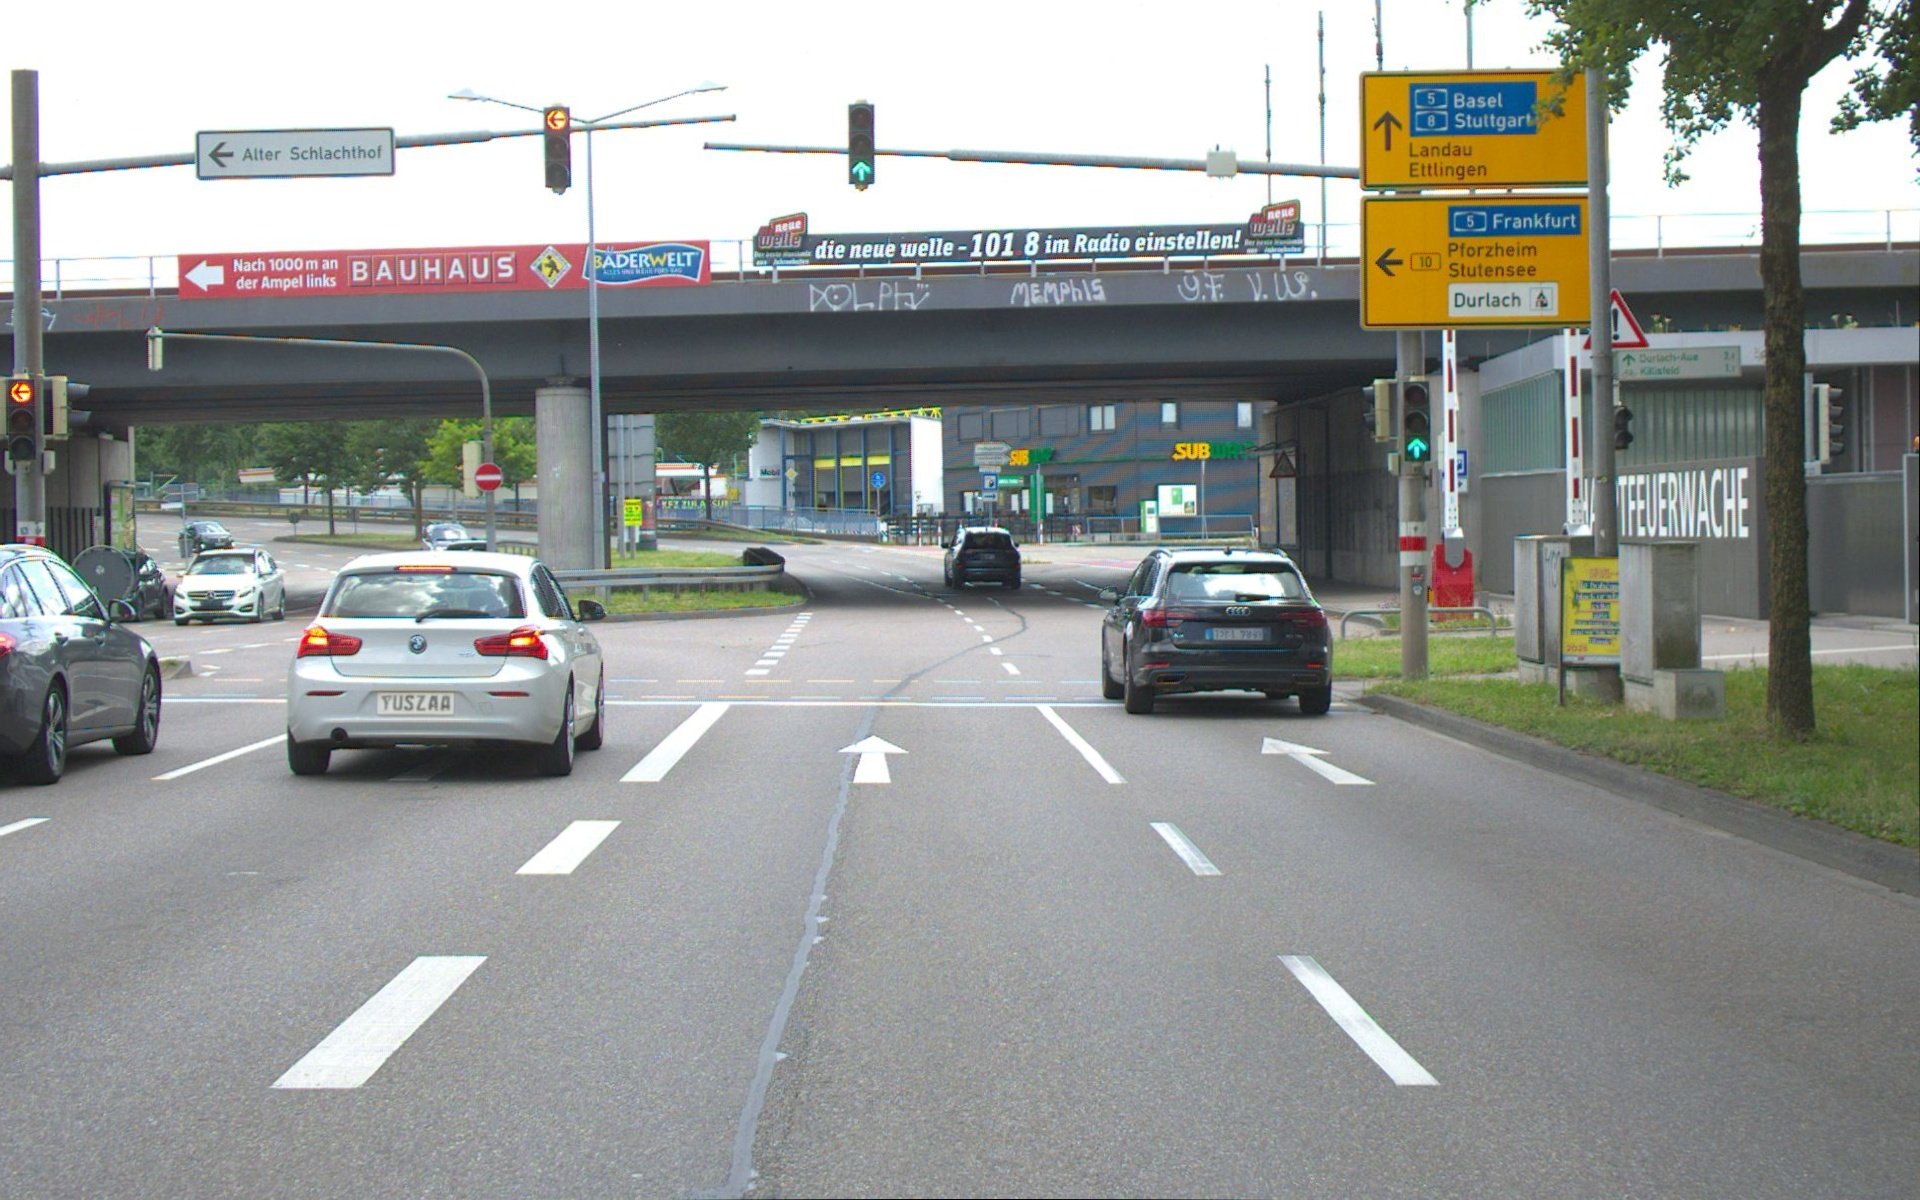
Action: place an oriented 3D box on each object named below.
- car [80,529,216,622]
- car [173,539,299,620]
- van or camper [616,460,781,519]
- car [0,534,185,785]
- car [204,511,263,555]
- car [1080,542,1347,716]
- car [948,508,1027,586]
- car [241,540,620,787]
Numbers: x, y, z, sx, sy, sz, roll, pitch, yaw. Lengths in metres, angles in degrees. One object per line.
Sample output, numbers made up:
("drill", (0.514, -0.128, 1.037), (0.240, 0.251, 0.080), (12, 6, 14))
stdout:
("car", (-18.258, -0.573, 77.483), (1.993, 2.007, 4.000), (-1, 1, 1))
("car", (-15.437, -0.471, 73.511), (1.806, 1.626, 4.393), (-1, 1, -1))
("van or camper", (-10.122, -4.276, 133.338), (6.229, 2.165, 2.126), (0, 1, -38))
("car", (-6.462, 0.293, 22.023), (1.993, 1.410, 4.832), (0, 1, -1))
("car", (-34.687, -3.219, 164.219), (1.993, 2.006, 4.337), (-1, 2, -3))
("car", (2.217, 0.207, 31.253), (1.993, 1.385, 4.576), (0, 2, -1))
("car", (0.725, -1.461, 93.922), (1.993, 2.030, 4.713), (-1, 1, -1))
("car", (-3.425, 0.348, 22.992), (1.915, 1.410, 4.296), (2, 1, -1))
